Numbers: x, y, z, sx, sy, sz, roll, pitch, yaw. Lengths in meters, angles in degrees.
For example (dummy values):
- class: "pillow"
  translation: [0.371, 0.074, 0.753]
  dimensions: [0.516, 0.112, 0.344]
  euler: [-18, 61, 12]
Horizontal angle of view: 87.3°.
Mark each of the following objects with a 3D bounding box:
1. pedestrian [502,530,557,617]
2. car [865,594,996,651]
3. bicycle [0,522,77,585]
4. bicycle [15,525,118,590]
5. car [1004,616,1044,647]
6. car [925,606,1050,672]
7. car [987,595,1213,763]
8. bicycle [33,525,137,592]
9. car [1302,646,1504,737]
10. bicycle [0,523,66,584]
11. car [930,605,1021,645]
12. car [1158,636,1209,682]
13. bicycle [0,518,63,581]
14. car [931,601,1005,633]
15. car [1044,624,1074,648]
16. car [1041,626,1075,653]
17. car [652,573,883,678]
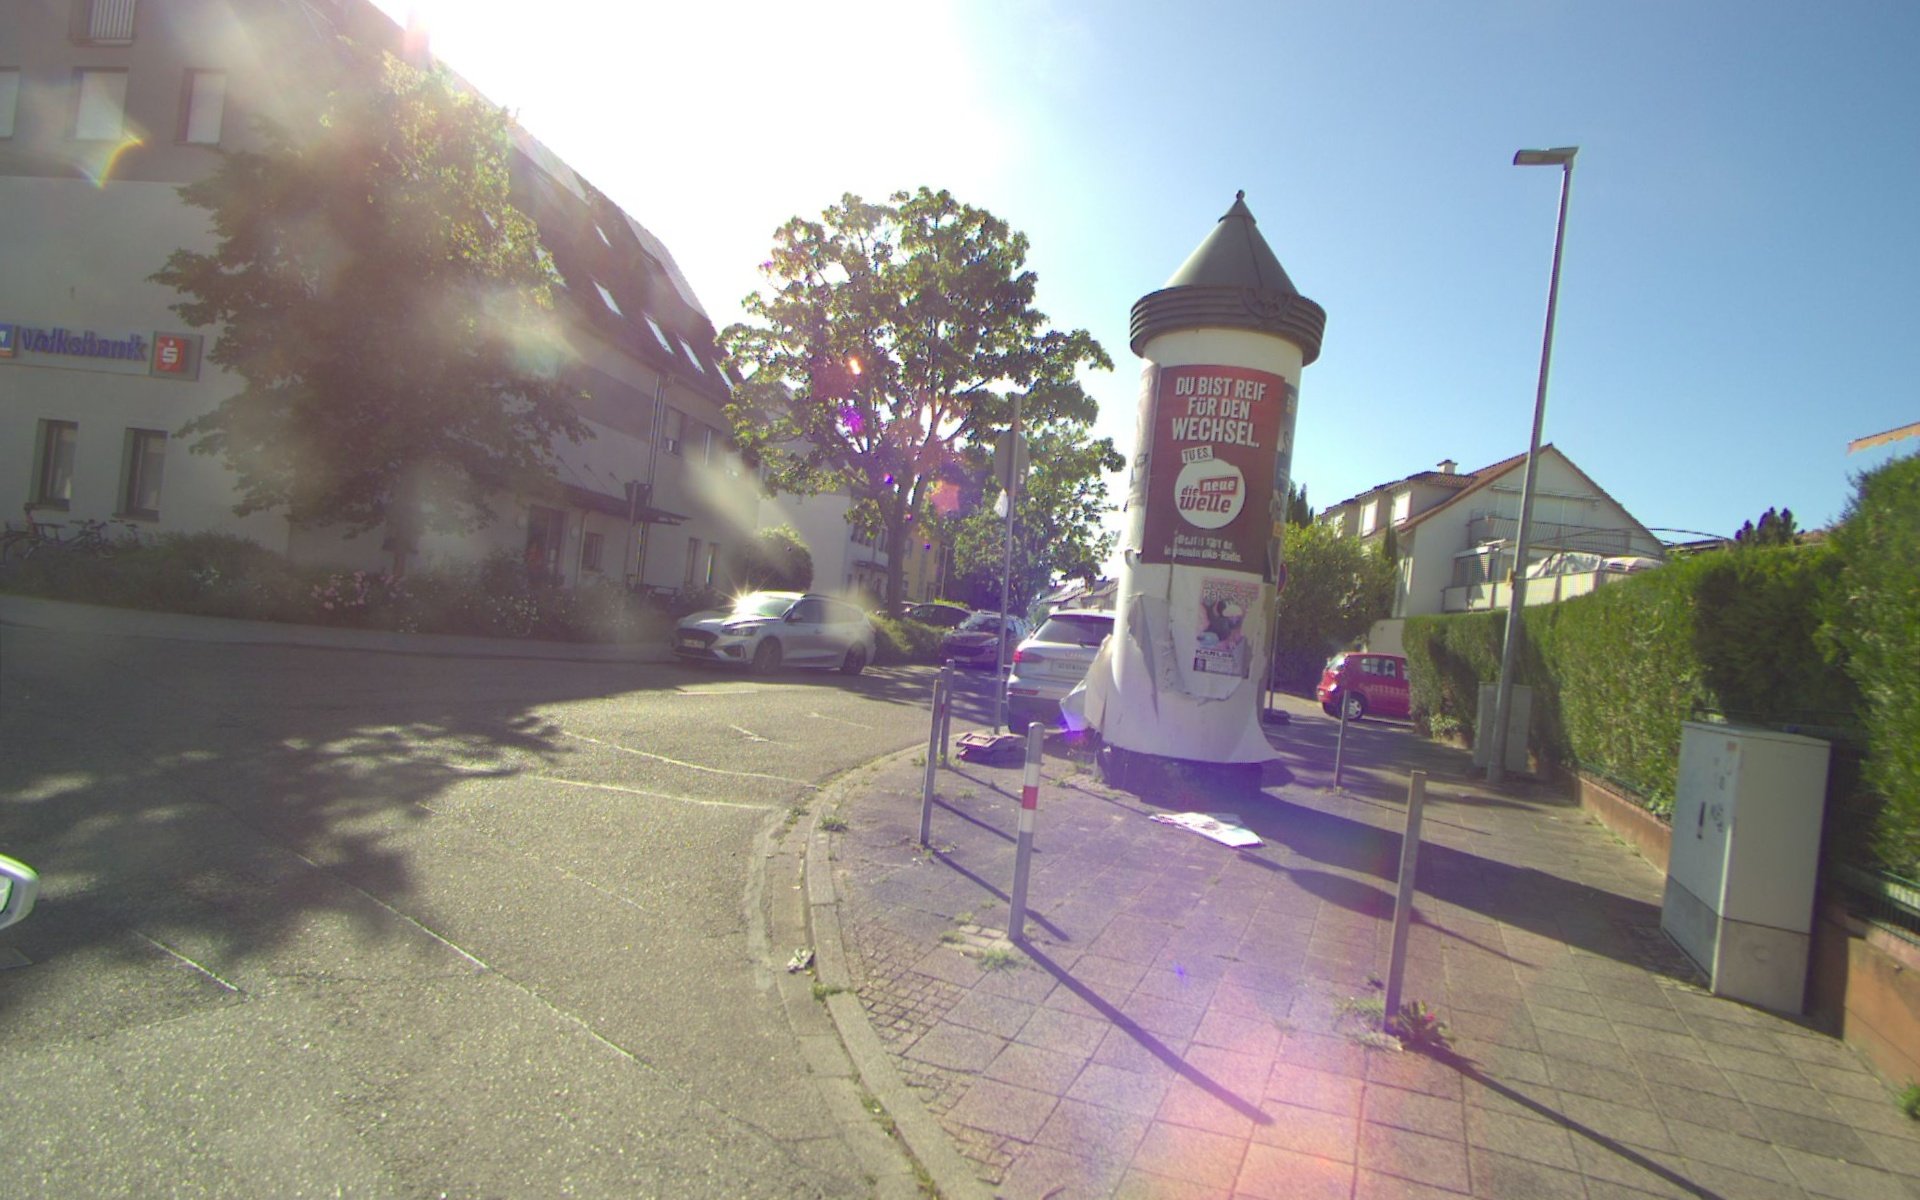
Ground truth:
- class: "pedestrian"
  translation: [-10.677, -0.646, 24.969]
  dimensions: [0.752, 2.039, 0.775]
  euler: [7, 1, 20]
- class: "car"
  translation: [-0.989, 0.747, 33.880]
  dimensions: [3.931, 1.427, 1.797]
  euler: [6, 0, 29]
- class: "bicycle"
  translation: [-15.634, -0.780, 16.872]
  dimensions: [0.309, 0.931, 1.160]
  euler: [7, 0, 43]
- class: "bicycle"
  translation: [-14.562, -0.680, 16.413]
  dimensions: [0.308, 0.931, 1.163]
  euler: [7, 0, 33]
- class: "car"
  translation: [3.631, 1.769, 56.363]
  dimensions: [1.666, 1.518, 3.725]
  euler: [5, -1, 11]
- class: "car"
  translation: [0.863, 1.137, 28.308]
  dimensions: [1.782, 1.512, 4.300]
  euler: [7, 0, 26]
- class: "car"
  translation: [1.965, 0.921, 12.794]
  dimensions: [1.781, 1.612, 4.303]
  euler: [5, -1, 21]
- class: "bicycle"
  translation: [-14.037, -0.652, 16.159]
  dimensions: [0.308, 0.931, 1.163]
  euler: [7, 0, 33]
- class: "car"
  translation: [9.656, 1.964, 22.188]
  dimensions: [3.652, 1.518, 1.699]
  euler: [5, 0, 9]
- class: "bicycle"
  translation: [-16.002, -0.804, 17.083]
  dimensions: [0.309, 0.931, 1.160]
  euler: [7, 0, 43]
- class: "car"
  translation: [0.757, 1.197, 48.591]
  dimensions: [3.924, 1.427, 1.800]
  euler: [7, 0, 16]
- class: "car"
  translation: [8.558, 2.236, 38.709]
  dimensions: [1.666, 1.518, 3.725]
  euler: [5, -1, 11]
- class: "bicycle"
  translation: [-16.474, -0.902, 17.502]
  dimensions: [1.217, 0.987, 0.316]
  euler: [7, 0, -41]
- class: "car"
  translation: [0.483, 1.011, 59.208]
  dimensions: [3.924, 1.427, 1.800]
  euler: [7, 0, 16]
- class: "car"
  translation: [7.146, 2.567, 72.309]
  dimensions: [1.666, 1.518, 3.725]
  euler: [5, -1, 11]
- class: "car"
  translation: [6.275, 2.526, 64.175]
  dimensions: [1.666, 1.518, 3.725]
  euler: [5, -1, 11]
- class: "car"
  translation: [-3.326, 0.519, 18.307]
  dimensions: [1.782, 1.512, 4.300]
  euler: [7, 0, 26]
